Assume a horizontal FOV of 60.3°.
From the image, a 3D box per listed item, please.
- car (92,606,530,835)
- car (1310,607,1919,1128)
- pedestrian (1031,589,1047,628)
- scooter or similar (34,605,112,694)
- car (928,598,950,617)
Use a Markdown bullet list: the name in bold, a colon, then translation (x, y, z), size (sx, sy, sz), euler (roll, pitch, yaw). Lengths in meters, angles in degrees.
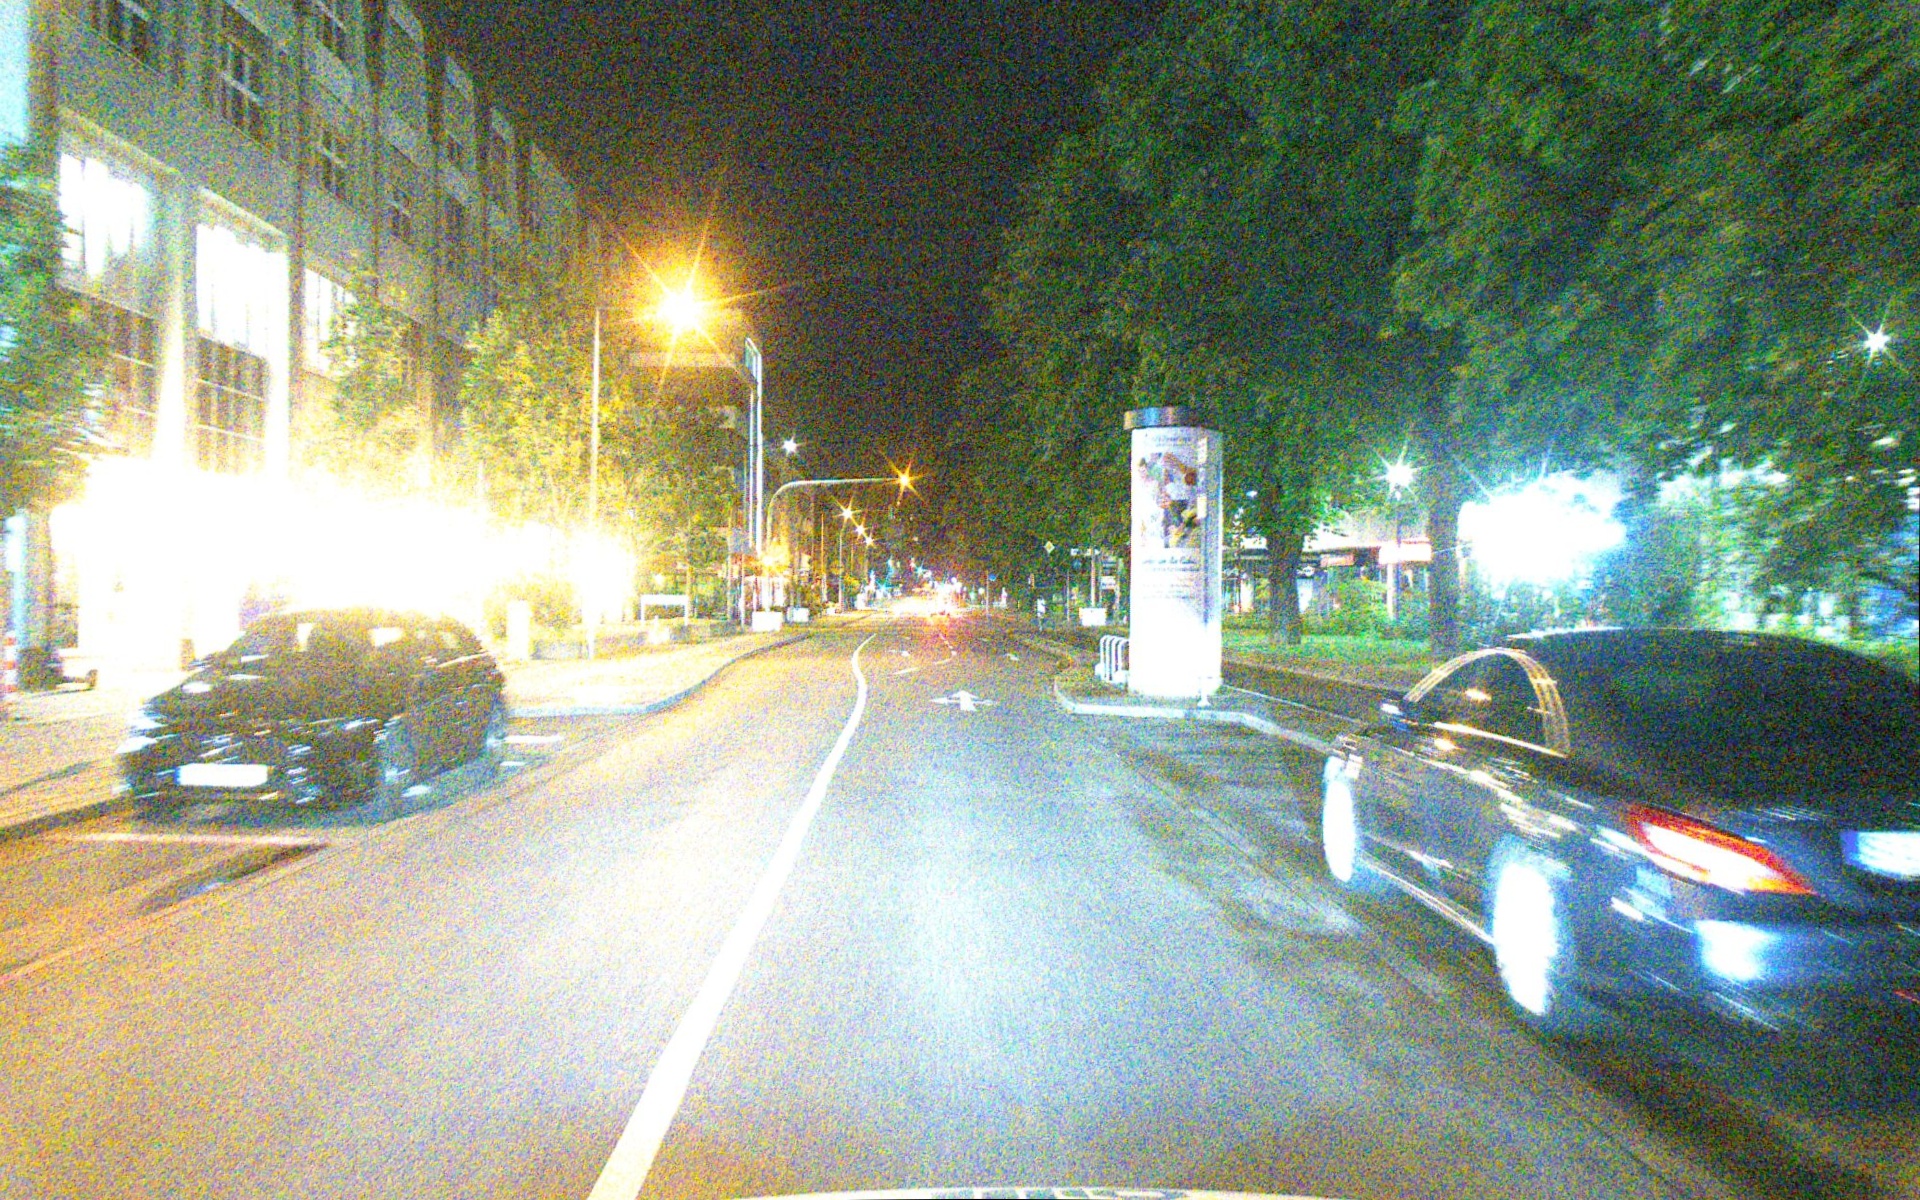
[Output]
- **car**: translation (-4.803, 0.791, 13.007), size (1.706, 1.438, 4.494), euler (1, 0, -1)
- **car**: translation (2.923, 0.777, 7.159), size (1.728, 1.439, 4.807), euler (-1, 0, -1)
- **pedestrian**: translation (3.847, 0.417, 80.822), size (0.688, 1.850, 1.081), euler (0, 0, -1)
- **scooter or similar**: translation (-12.764, 0.691, 23.837), size (0.379, 1.242, 1.344), euler (0, 0, 1)
- **car**: translation (-1.911, 0.647, 150.681), size (1.953, 1.672, 3.999), euler (-1, 0, -2)
